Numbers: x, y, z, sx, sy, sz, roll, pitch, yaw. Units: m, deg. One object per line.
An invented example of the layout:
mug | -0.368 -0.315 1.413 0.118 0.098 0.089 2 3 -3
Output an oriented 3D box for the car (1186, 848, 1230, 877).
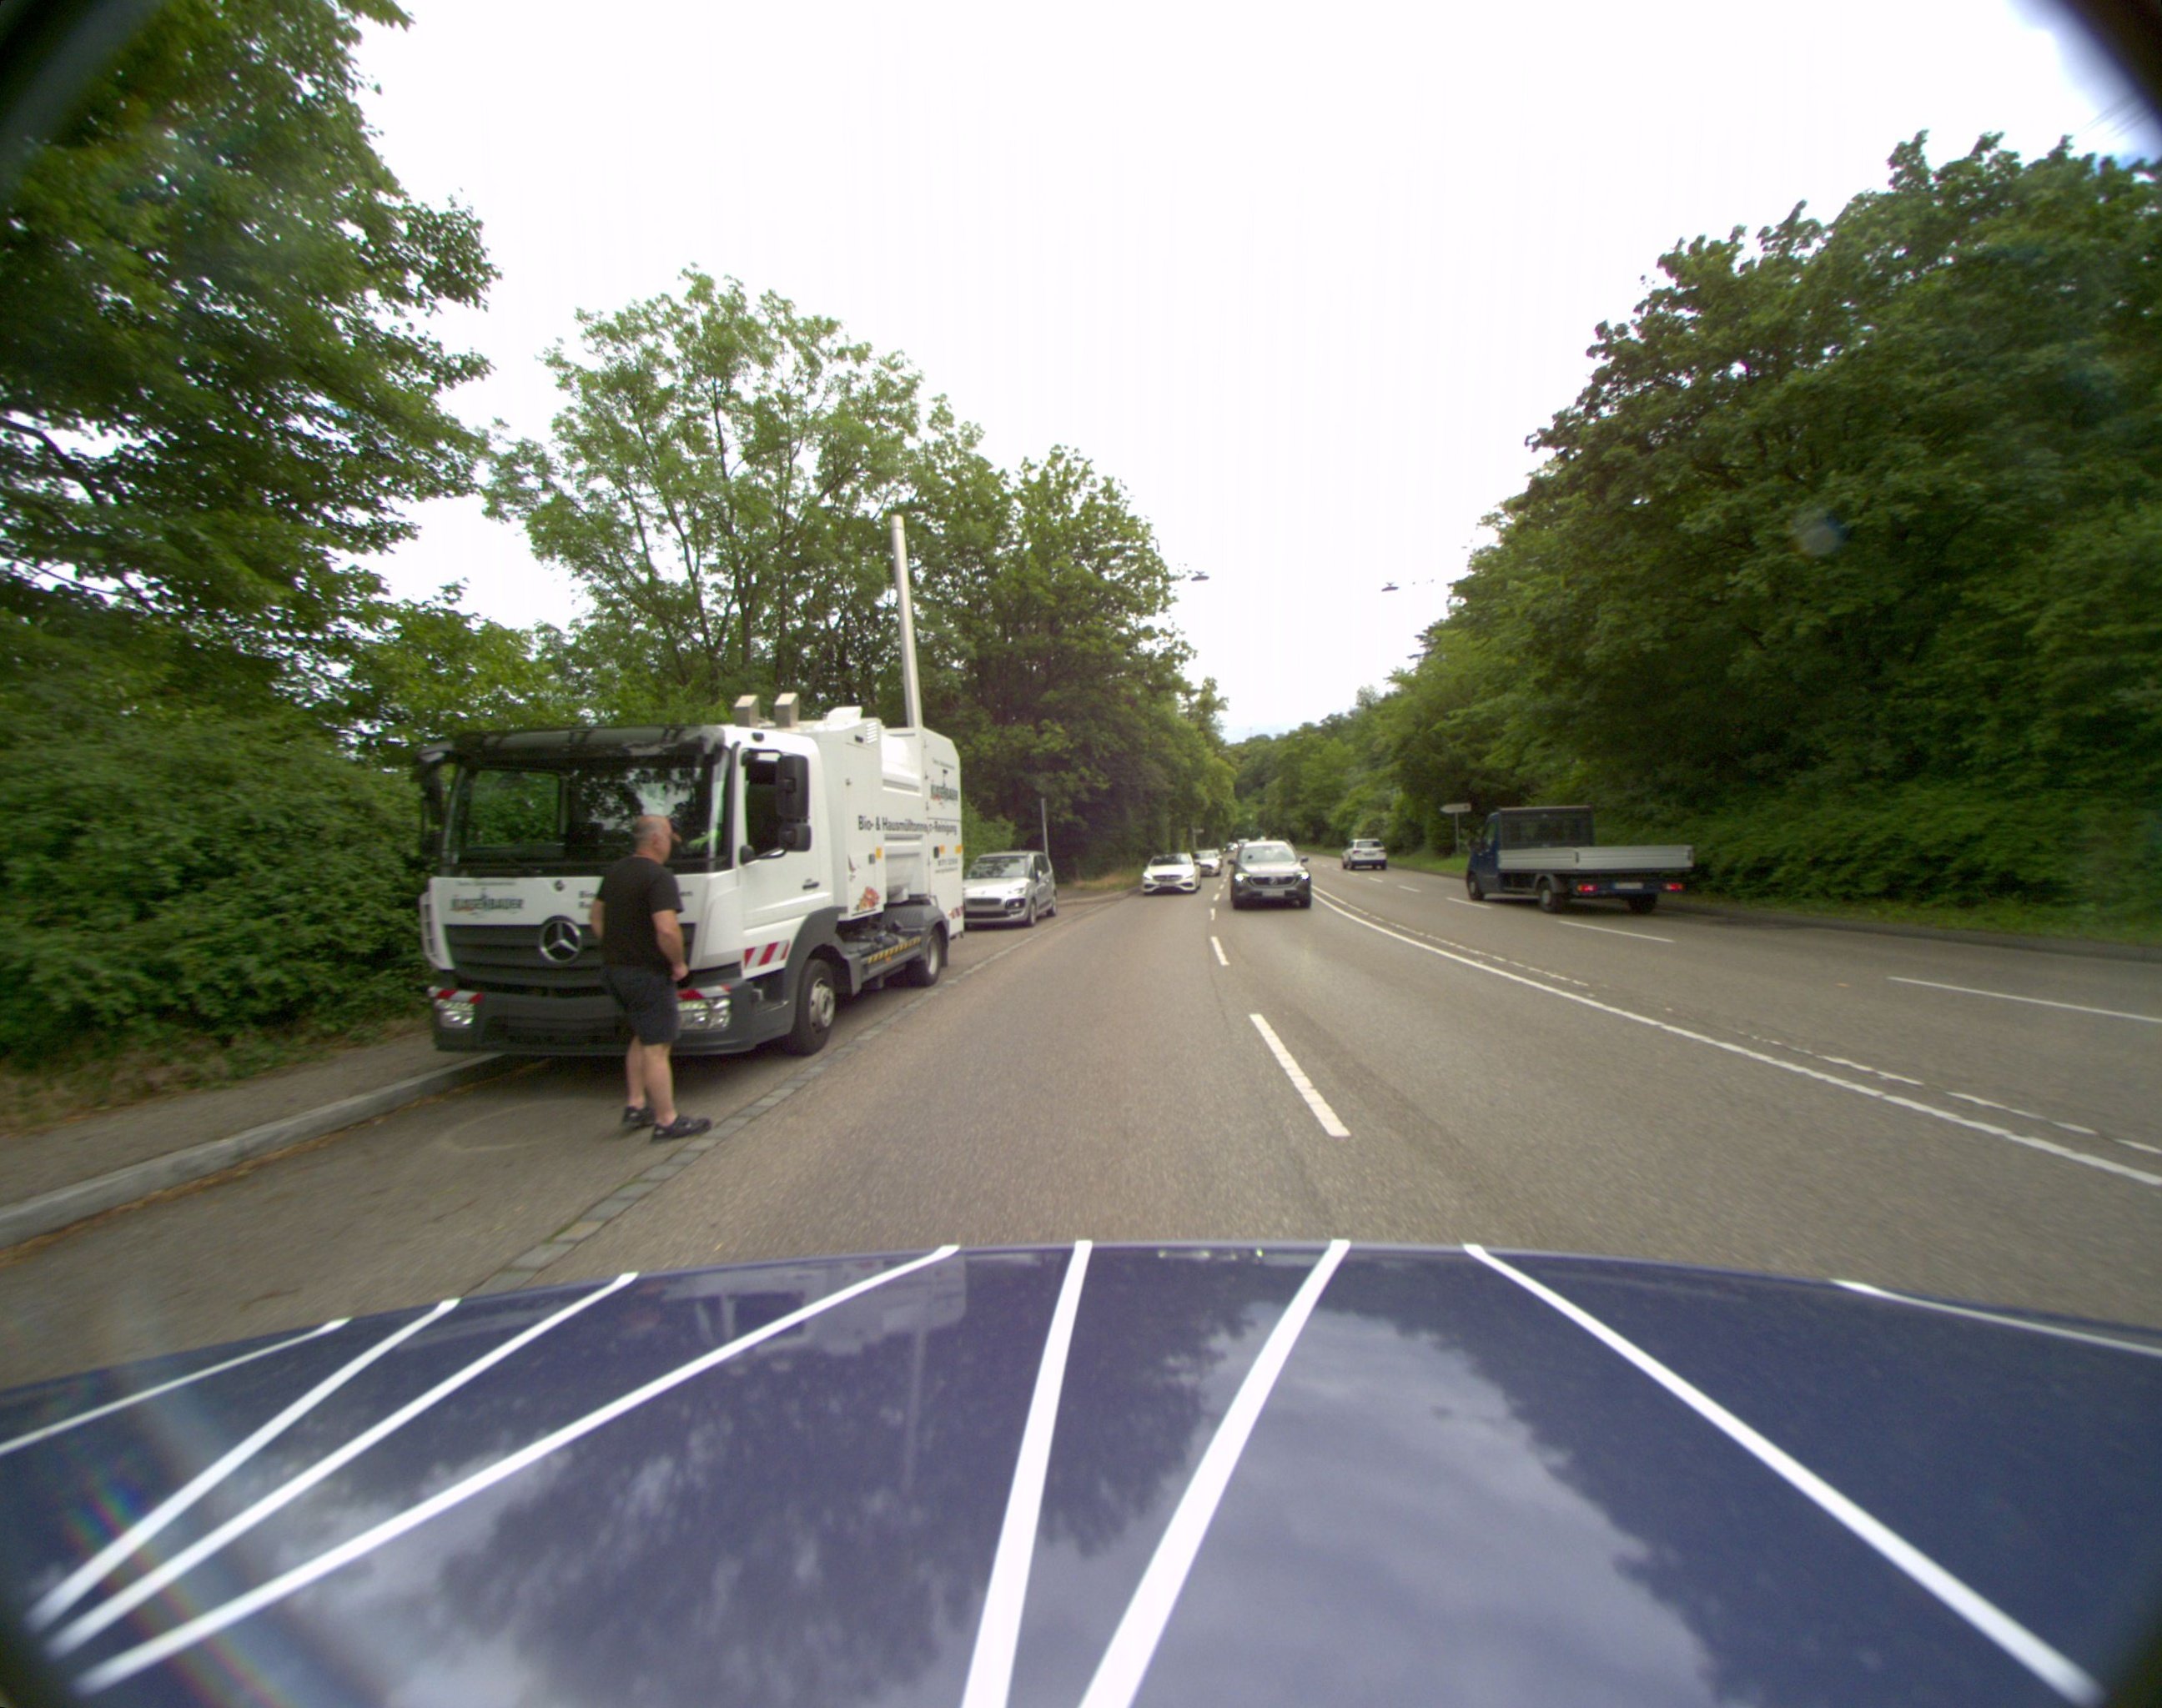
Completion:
car | 7.174 0.451 43.270 1.779 1.430 4.000 -5 0 1

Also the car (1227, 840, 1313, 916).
car | 4.772 0.522 19.511 1.869 1.653 4.195 -2 1 12

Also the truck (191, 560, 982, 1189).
truck | -3.087 0.062 7.542 2.487 3.163 7.231 0 1 7

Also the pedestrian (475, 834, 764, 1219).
pedestrian | -2.450 0.815 4.160 0.918 1.823 0.985 0 0 11

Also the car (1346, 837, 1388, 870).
car | 15.410 -0.077 41.137 1.858 1.685 4.441 1 1 17

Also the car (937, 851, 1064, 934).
car | -1.666 0.769 17.232 1.806 1.516 4.002 -3 1 9

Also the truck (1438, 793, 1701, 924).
truck | 10.640 0.060 17.463 2.165 2.357 6.680 -2 0 5

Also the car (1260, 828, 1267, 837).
car | 54.707 -6.366 227.694 1.890 2.541 4.918 -2 1 12

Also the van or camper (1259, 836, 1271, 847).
van or camper | 34.766 -2.336 143.923 1.996 2.002 5.372 2 2 12

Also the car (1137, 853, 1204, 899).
car | 3.229 0.700 26.698 1.895 1.289 4.330 -4 1 11

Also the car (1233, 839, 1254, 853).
car | 20.565 -0.956 96.014 1.697 1.573 4.000 -5 0 1
